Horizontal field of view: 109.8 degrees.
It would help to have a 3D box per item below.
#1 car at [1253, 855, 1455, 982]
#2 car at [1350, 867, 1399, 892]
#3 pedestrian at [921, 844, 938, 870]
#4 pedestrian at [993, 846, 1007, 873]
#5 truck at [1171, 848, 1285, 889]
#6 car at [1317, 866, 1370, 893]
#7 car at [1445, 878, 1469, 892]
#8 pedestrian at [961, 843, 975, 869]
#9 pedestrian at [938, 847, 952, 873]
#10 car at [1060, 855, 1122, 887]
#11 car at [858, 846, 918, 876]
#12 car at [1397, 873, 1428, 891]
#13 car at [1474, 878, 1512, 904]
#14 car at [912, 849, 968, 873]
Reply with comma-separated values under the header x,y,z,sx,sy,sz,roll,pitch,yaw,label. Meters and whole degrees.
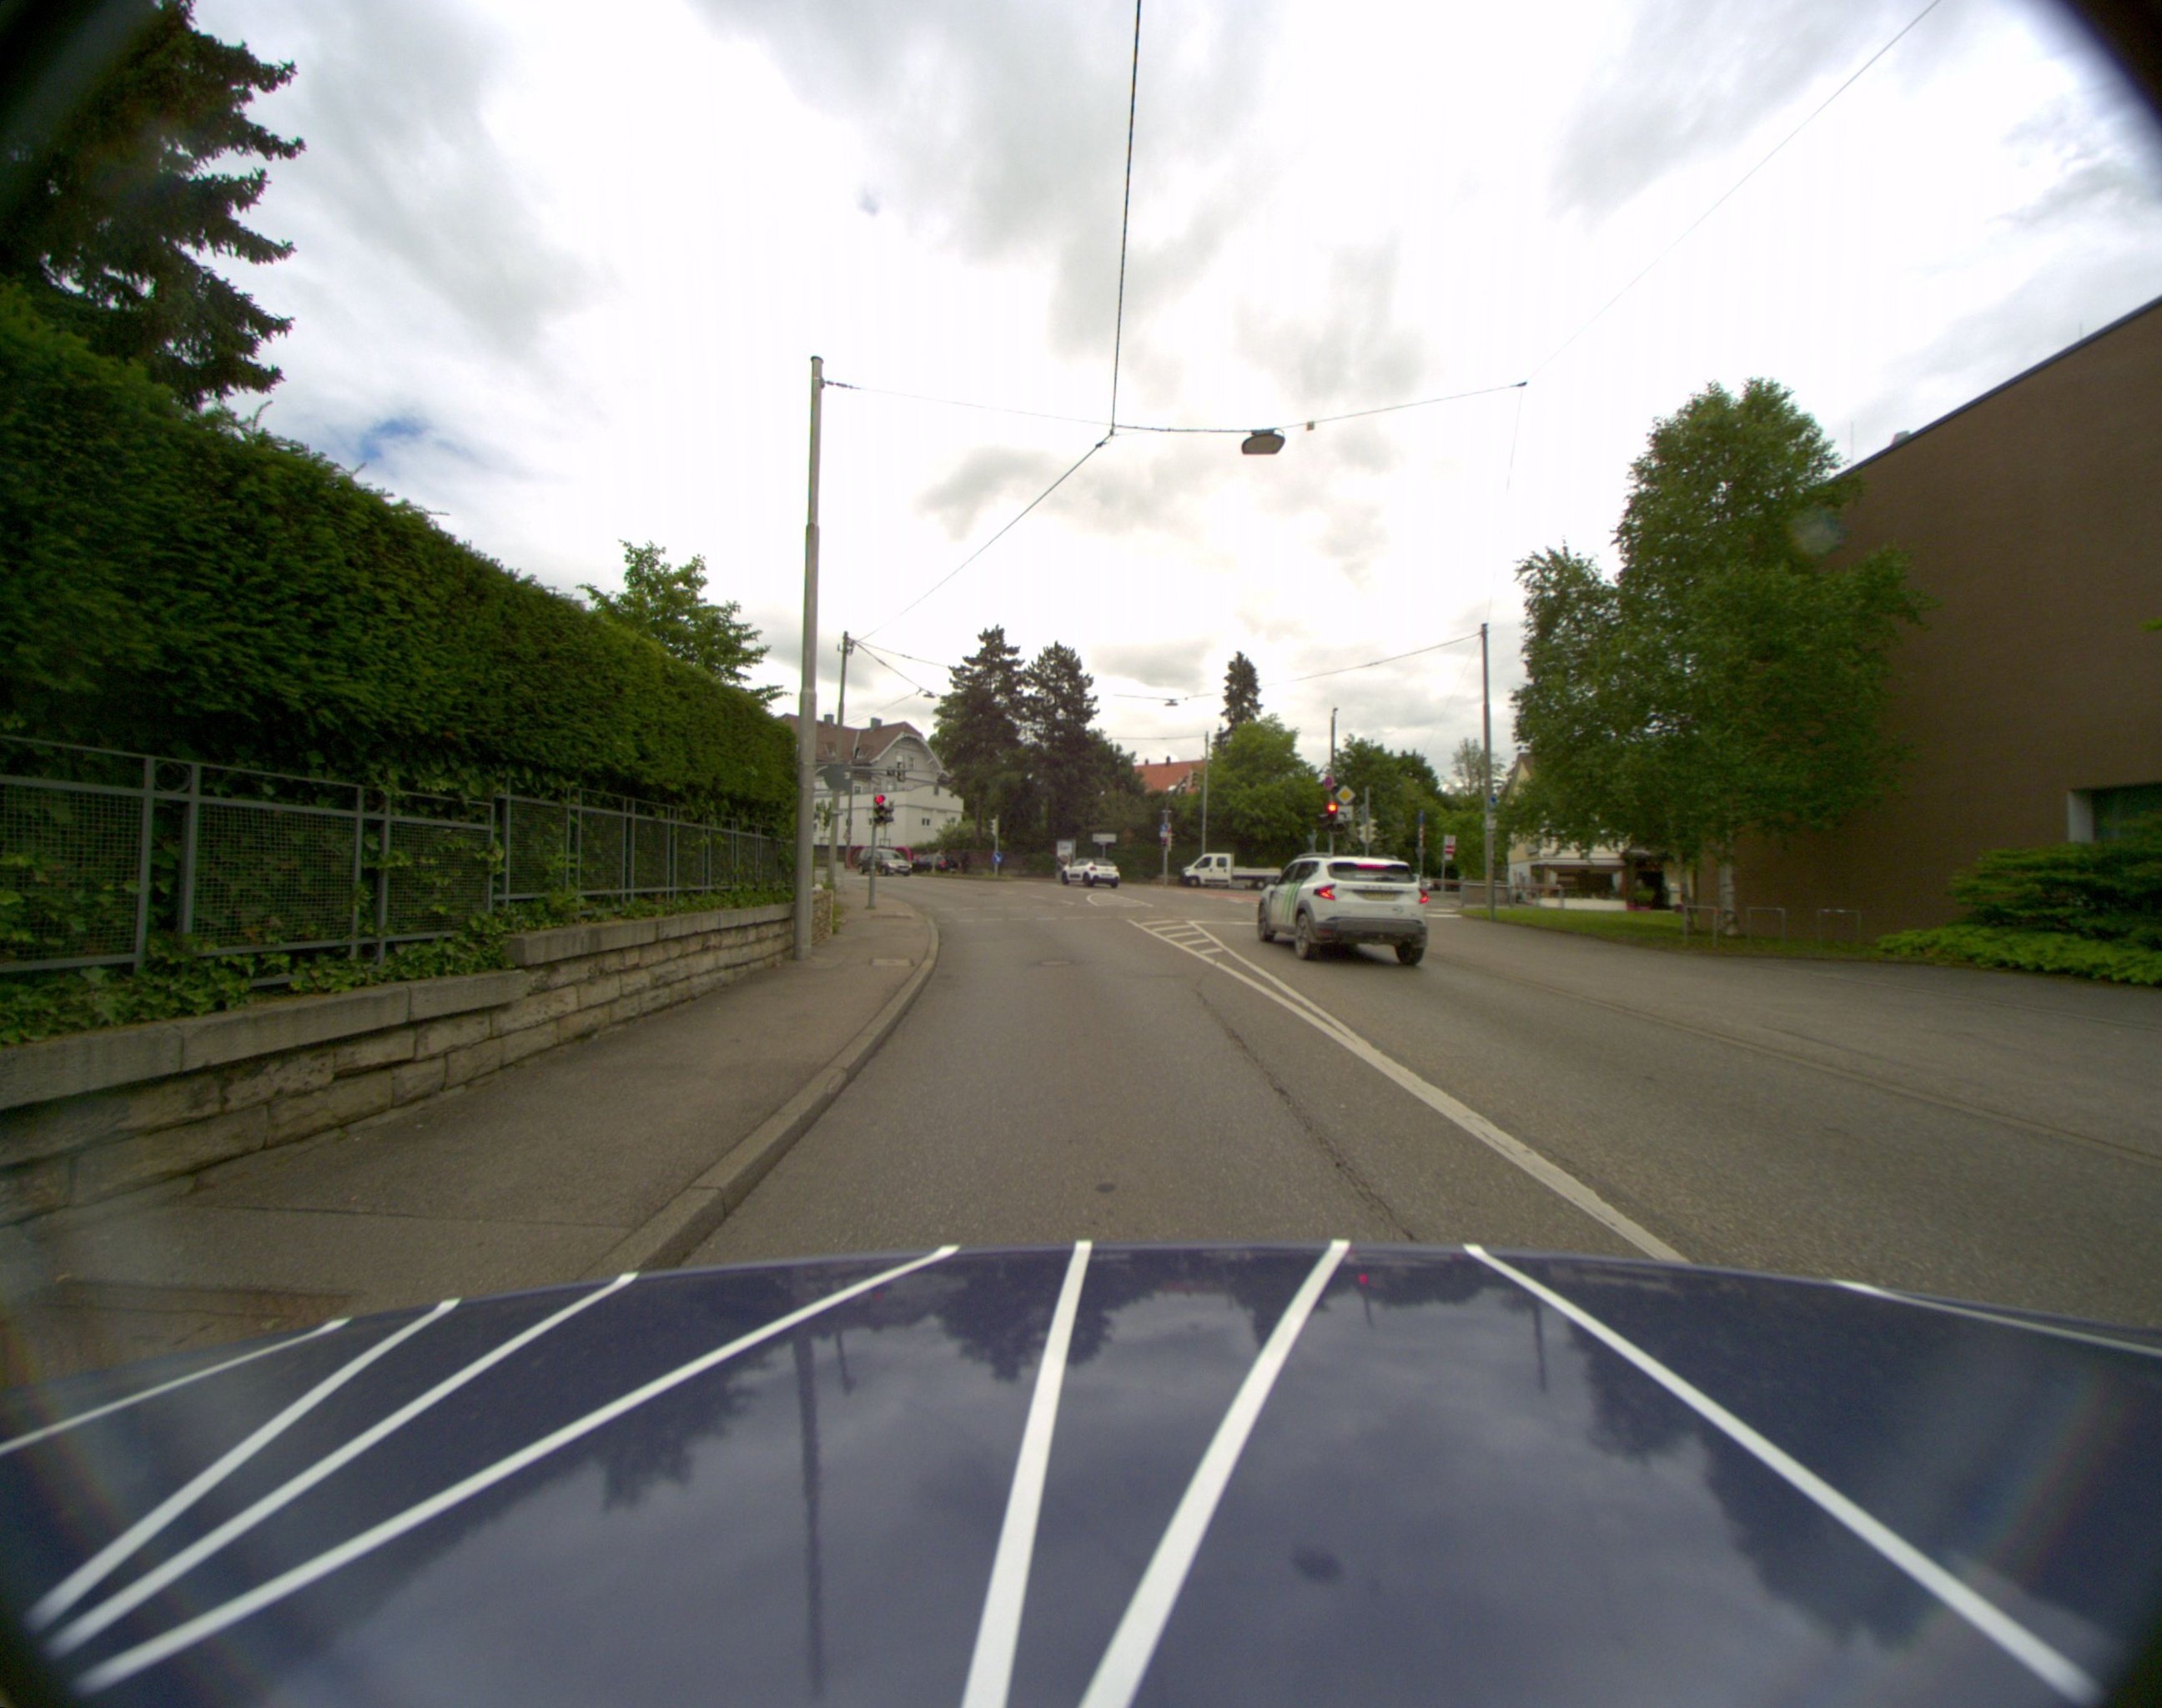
x,y,z,sx,sy,sz,roll,pitch,yaw,label
4.233,0.889,12.593,1.773,1.628,4.302,4,0,1,car
20.863,1.824,53.937,1.994,1.603,4.010,2,0,39,car
-10.787,0.243,54.147,0.686,1.803,0.882,3,0,29,pedestrian
-5.640,0.392,52.956,0.611,1.824,0.680,3,0,27,pedestrian
9.100,0.852,47.349,6.706,2.176,2.532,2,1,12,truck
17.189,1.670,49.675,1.994,1.603,4.010,2,0,39,car
43.131,3.528,87.136,1.866,1.577,3.739,2,0,36,car
-8.085,0.164,54.344,0.611,1.824,0.605,3,0,27,pedestrian
-9.548,0.396,53.244,0.665,1.777,0.614,3,0,29,pedestrian
0.459,0.838,38.571,1.703,1.431,3.748,3,1,-23,car
-11.262,0.385,44.257,1.622,1.571,3.989,0,1,-44,car
31.424,2.632,72.023,1.866,1.577,3.739,2,0,36,car
25.678,2.263,47.429,1.876,1.440,4.008,2,0,26,car
-9.344,0.424,50.170,1.772,1.400,3.988,3,0,-41,car
